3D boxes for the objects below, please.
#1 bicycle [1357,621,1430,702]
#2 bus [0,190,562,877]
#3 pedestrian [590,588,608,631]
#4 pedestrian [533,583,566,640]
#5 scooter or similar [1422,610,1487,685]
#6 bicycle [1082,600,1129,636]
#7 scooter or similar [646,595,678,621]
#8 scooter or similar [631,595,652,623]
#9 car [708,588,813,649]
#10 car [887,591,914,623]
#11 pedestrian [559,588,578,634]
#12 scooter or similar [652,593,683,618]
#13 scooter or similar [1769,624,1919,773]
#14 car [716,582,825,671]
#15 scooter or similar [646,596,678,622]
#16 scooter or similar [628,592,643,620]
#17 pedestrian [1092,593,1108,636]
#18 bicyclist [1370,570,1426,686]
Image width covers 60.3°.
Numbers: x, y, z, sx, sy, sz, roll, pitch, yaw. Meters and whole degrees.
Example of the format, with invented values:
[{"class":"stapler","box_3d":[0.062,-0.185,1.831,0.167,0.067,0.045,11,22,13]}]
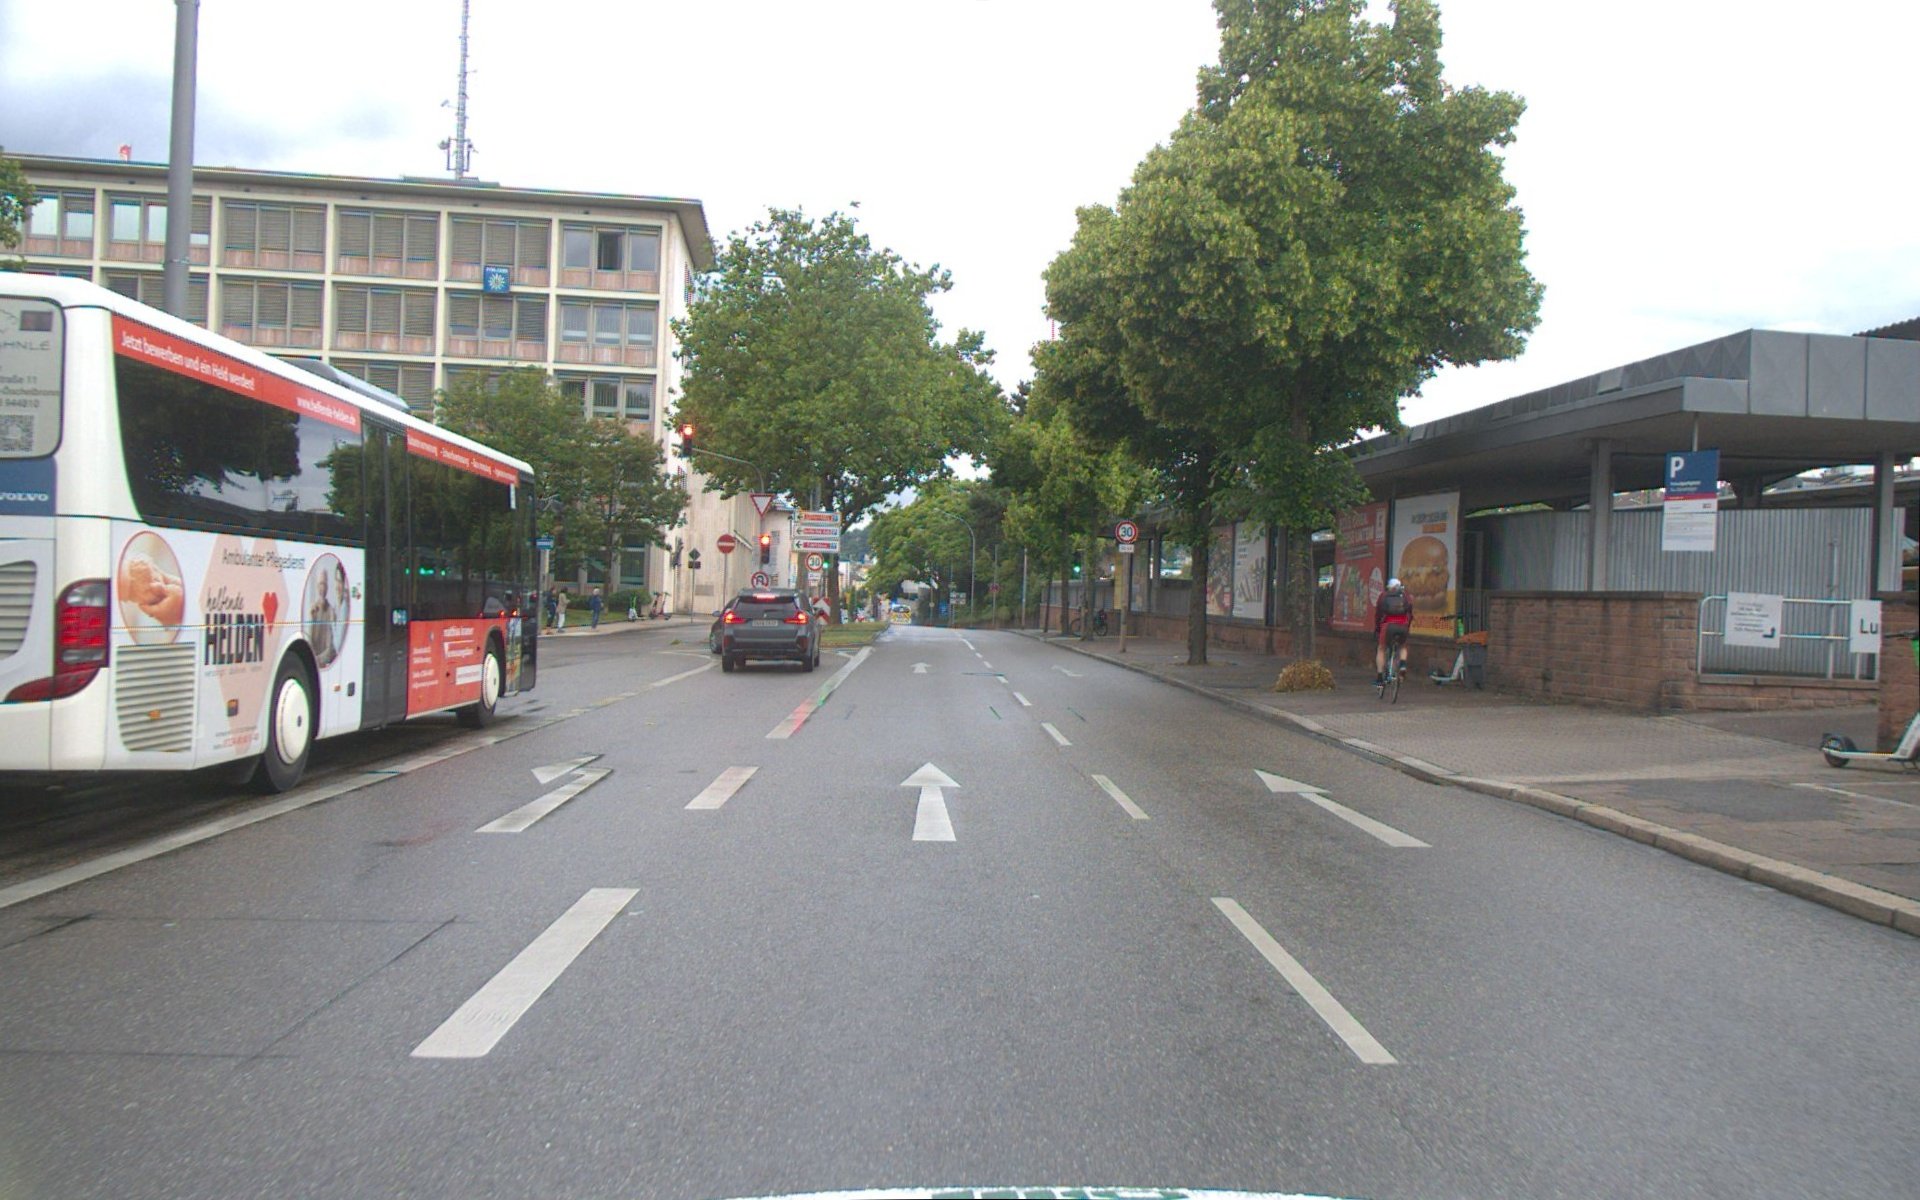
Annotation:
[{"class":"bicycle","box_3d":[5.958,0.825,22.787,0.437,1.034,1.676,-1,0,-4]},{"class":"bus","box_3d":[-6.198,-0.386,14.638,2.896,3.499,12.551,1,0,-3]},{"class":"pedestrian","box_3d":[-13.848,0.346,63.412,0.642,1.631,0.922,1,0,-13]},{"class":"pedestrian","box_3d":[-15.262,0.423,61.551,0.915,2.081,0.874,1,0,5]},{"class":"scooter or similar","box_3d":[8.022,0.763,26.900,0.483,1.173,1.544,1,0,-4]},{"class":"bicycle","box_3d":[5.375,0.666,61.199,1.688,1.271,0.485,1,0,30]},{"class":"scooter or similar","box_3d":[-14.114,0.397,78.358,0.596,1.213,1.524,1,0,31]},{"class":"scooter or similar","box_3d":[-14.070,0.398,73.107,0.558,1.213,1.574,1,0,1]},{"class":"car","box_3d":[-4.992,0.435,40.942,1.787,1.434,4.392,1,0,-18]},{"class":"car","box_3d":[-5.184,0.589,143.912,2.219,2.703,3.997,1,0,-4]},{"class":"pedestrian","box_3d":[-14.829,0.419,62.679,0.641,1.740,0.795,1,0,-10]},{"class":"scooter or similar","box_3d":[-14.079,0.290,79.684,0.596,1.185,1.524,1,0,31]},{"class":"scooter or similar","box_3d":[7.731,0.808,14.011,0.486,1.173,1.704,1,0,-21]},{"class":"car","box_3d":[-3.783,0.510,33.630,1.925,1.668,4.355,1,0,-3]},{"class":"scooter or similar","box_3d":[-13.874,0.423,77.051,0.596,1.213,1.524,1,0,31]},{"class":"scooter or similar","box_3d":[-14.007,0.261,71.495,0.479,1.188,1.500,1,0,-6]},{"class":"pedestrian","box_3d":[5.138,0.533,60.815,0.448,1.596,0.392,1,0,30]},{"class":"bicyclist","box_3d":[6.022,0.385,22.764,0.523,1.565,0.694,-1,0,-5]}]
